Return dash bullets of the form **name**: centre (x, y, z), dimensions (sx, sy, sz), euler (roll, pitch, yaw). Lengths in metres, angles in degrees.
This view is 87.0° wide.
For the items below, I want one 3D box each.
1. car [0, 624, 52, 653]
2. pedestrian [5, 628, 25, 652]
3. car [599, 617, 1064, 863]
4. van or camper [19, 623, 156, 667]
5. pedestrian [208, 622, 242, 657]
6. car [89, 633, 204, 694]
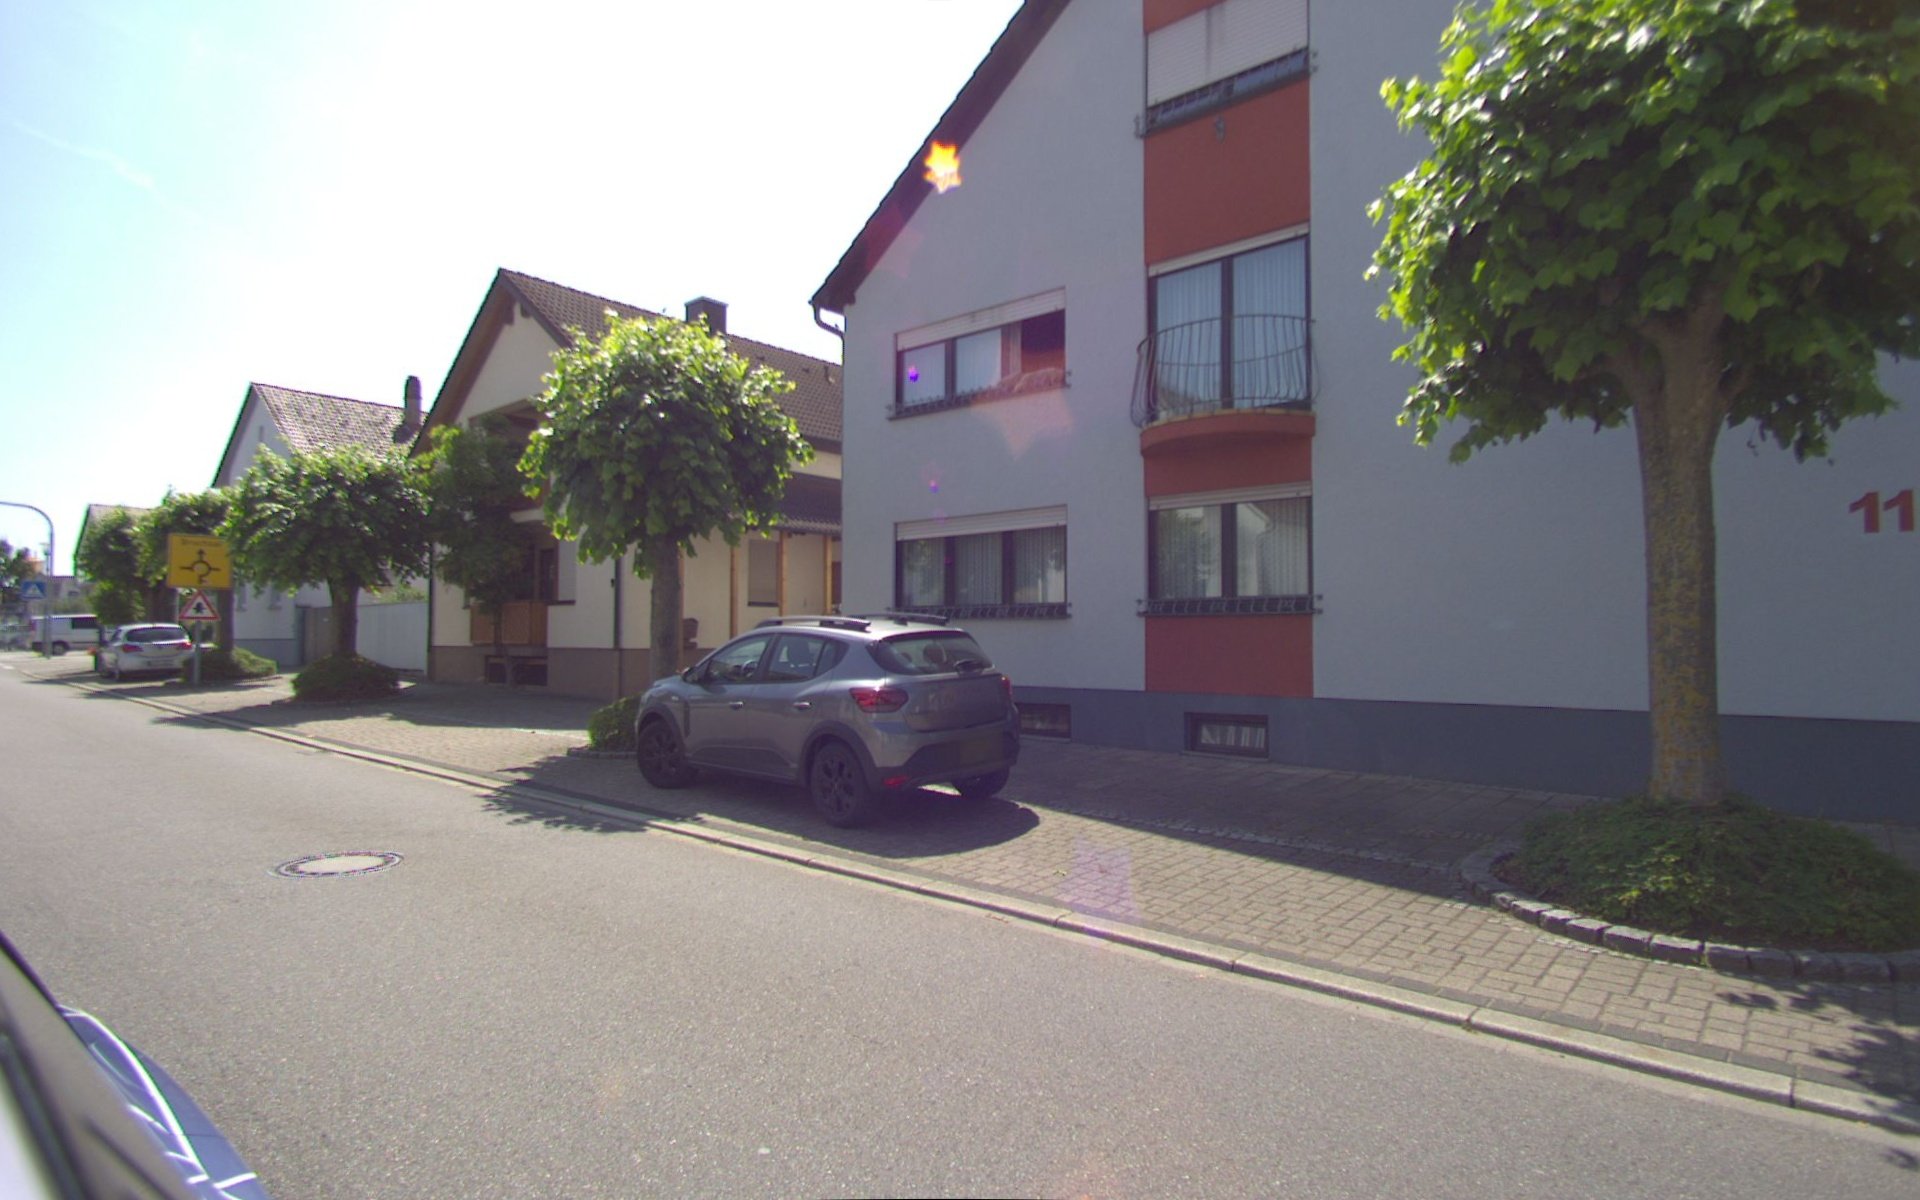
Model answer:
- **car**: centre (-60.149, 2.421, 63.644), dimensions (1.941, 1.732, 4.202), euler (-1, -1, 35)
- **pedestrian**: centre (-54.786, 2.330, 58.685), dimensions (0.607, 1.369, 0.776), euler (-2, -3, 41)
- **car**: centre (-1.304, 0.991, 8.883), dimensions (4.135, 1.625, 1.832), euler (-2, -1, 43)
- **van or camper**: centre (-41.423, 2.108, 48.135), dimensions (1.998, 1.877, 4.692), euler (-3, -2, 40)
- **pedestrian**: centre (-38.076, 2.047, 52.464), dimensions (0.922, 1.788, 1.069), euler (0, -2, 4)
- **car**: centre (-22.371, 1.673, 27.772), dimensions (4.131, 1.494, 1.805), euler (-1, -1, 42)
